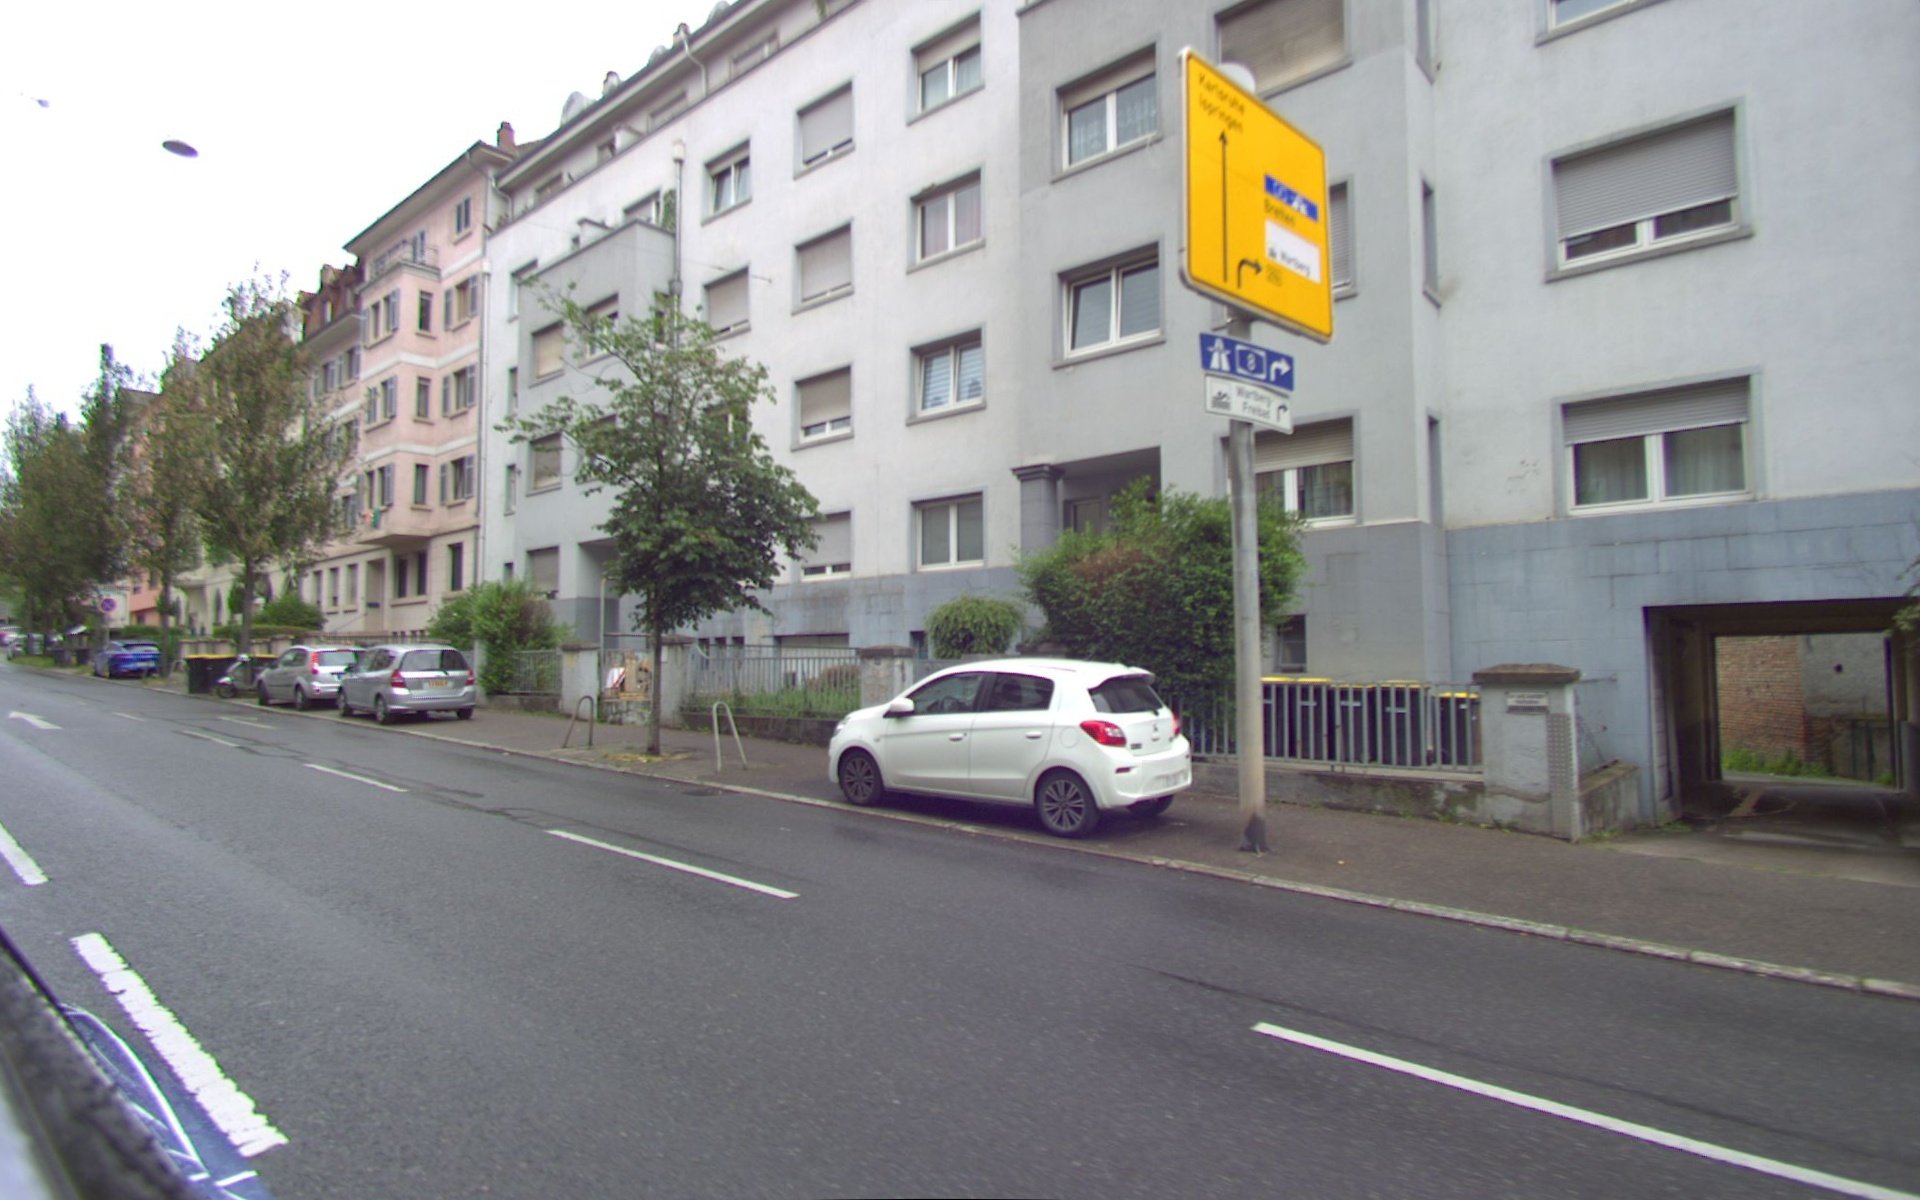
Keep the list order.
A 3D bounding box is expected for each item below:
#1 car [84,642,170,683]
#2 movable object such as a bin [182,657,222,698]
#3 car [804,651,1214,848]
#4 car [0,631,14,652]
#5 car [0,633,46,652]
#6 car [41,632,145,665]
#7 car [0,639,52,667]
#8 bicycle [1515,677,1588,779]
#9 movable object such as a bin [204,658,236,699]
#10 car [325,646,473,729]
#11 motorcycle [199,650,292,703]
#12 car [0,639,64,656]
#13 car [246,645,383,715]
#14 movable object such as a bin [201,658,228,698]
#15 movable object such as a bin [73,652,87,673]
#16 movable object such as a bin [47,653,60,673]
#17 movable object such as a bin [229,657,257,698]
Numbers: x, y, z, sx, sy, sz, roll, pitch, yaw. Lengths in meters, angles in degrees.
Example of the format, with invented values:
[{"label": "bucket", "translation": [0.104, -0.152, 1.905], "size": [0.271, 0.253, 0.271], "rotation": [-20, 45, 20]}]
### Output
[{"label": "car", "translation": [-30.842, 2.296, 37.419], "size": [4.600, 1.396, 1.661], "rotation": [-2, -5, 41]}, {"label": "movable object such as a bin", "translation": [-21.106, 2.139, 28.178], "size": [0.483, 1.066, 0.816], "rotation": [-1, 0, 42]}, {"label": "car", "translation": [0.362, 1.277, 9.895], "size": [3.793, 1.519, 1.629], "rotation": [-2, -3, 40]}, {"label": "car", "translation": [-88.016, 3.690, 91.136], "size": [1.865, 1.861, 3.881], "rotation": [-1, -4, 38]}, {"label": "car", "translation": [-85.022, 3.809, 91.081], "size": [1.592, 1.634, 3.877], "rotation": [-1, -4, 41]}, {"label": "car", "translation": [-54.049, 2.976, 63.171], "size": [1.917, 1.919, 4.672], "rotation": [0, -2, 39]}, {"label": "car", "translation": [-52.209, 2.962, 56.560], "size": [4.136, 1.428, 1.663], "rotation": [-1, -4, 41]}, {"label": "bicycle", "translation": [6.995, 1.474, 11.949], "size": [0.484, 1.098, 1.406], "rotation": [-2, -4, 41]}, {"label": "movable object such as a bin", "translation": [-20.042, 2.130, 27.411], "size": [0.480, 1.066, 0.522], "rotation": [-1, 0, 19]}, {"label": "car", "translation": [-11.366, 1.679, 20.385], "size": [3.889, 1.462, 1.582], "rotation": [-2, -2, 45]}, {"label": "motorcycle", "translation": [-18.517, 1.984, 26.272], "size": [1.782, 1.325, 0.743], "rotation": [1, -3, -8]}, {"label": "car", "translation": [-76.960, 3.971, 83.839], "size": [1.646, 1.307, 3.877], "rotation": [-1, -4, 41]}, {"label": "car", "translation": [-15.048, 1.795, 23.520], "size": [3.885, 1.407, 1.584], "rotation": [0, -3, 40]}, {"label": "movable object such as a bin", "translation": [-20.563, 2.148, 27.922], "size": [0.482, 1.066, 0.467], "rotation": [-1, 0, 32]}, {"label": "movable object such as a bin", "translation": [-40.051, 2.832, 46.062], "size": [0.572, 0.918, 0.360], "rotation": [-1, -1, 40]}, {"label": "movable object such as a bin", "translation": [-40.596, 2.819, 45.324], "size": [0.572, 0.896, 0.360], "rotation": [-2, -2, 40]}, {"label": "movable object such as a bin", "translation": [-19.821, 2.140, 27.982], "size": [0.482, 1.066, 0.467], "rotation": [-1, 0, 32]}]
